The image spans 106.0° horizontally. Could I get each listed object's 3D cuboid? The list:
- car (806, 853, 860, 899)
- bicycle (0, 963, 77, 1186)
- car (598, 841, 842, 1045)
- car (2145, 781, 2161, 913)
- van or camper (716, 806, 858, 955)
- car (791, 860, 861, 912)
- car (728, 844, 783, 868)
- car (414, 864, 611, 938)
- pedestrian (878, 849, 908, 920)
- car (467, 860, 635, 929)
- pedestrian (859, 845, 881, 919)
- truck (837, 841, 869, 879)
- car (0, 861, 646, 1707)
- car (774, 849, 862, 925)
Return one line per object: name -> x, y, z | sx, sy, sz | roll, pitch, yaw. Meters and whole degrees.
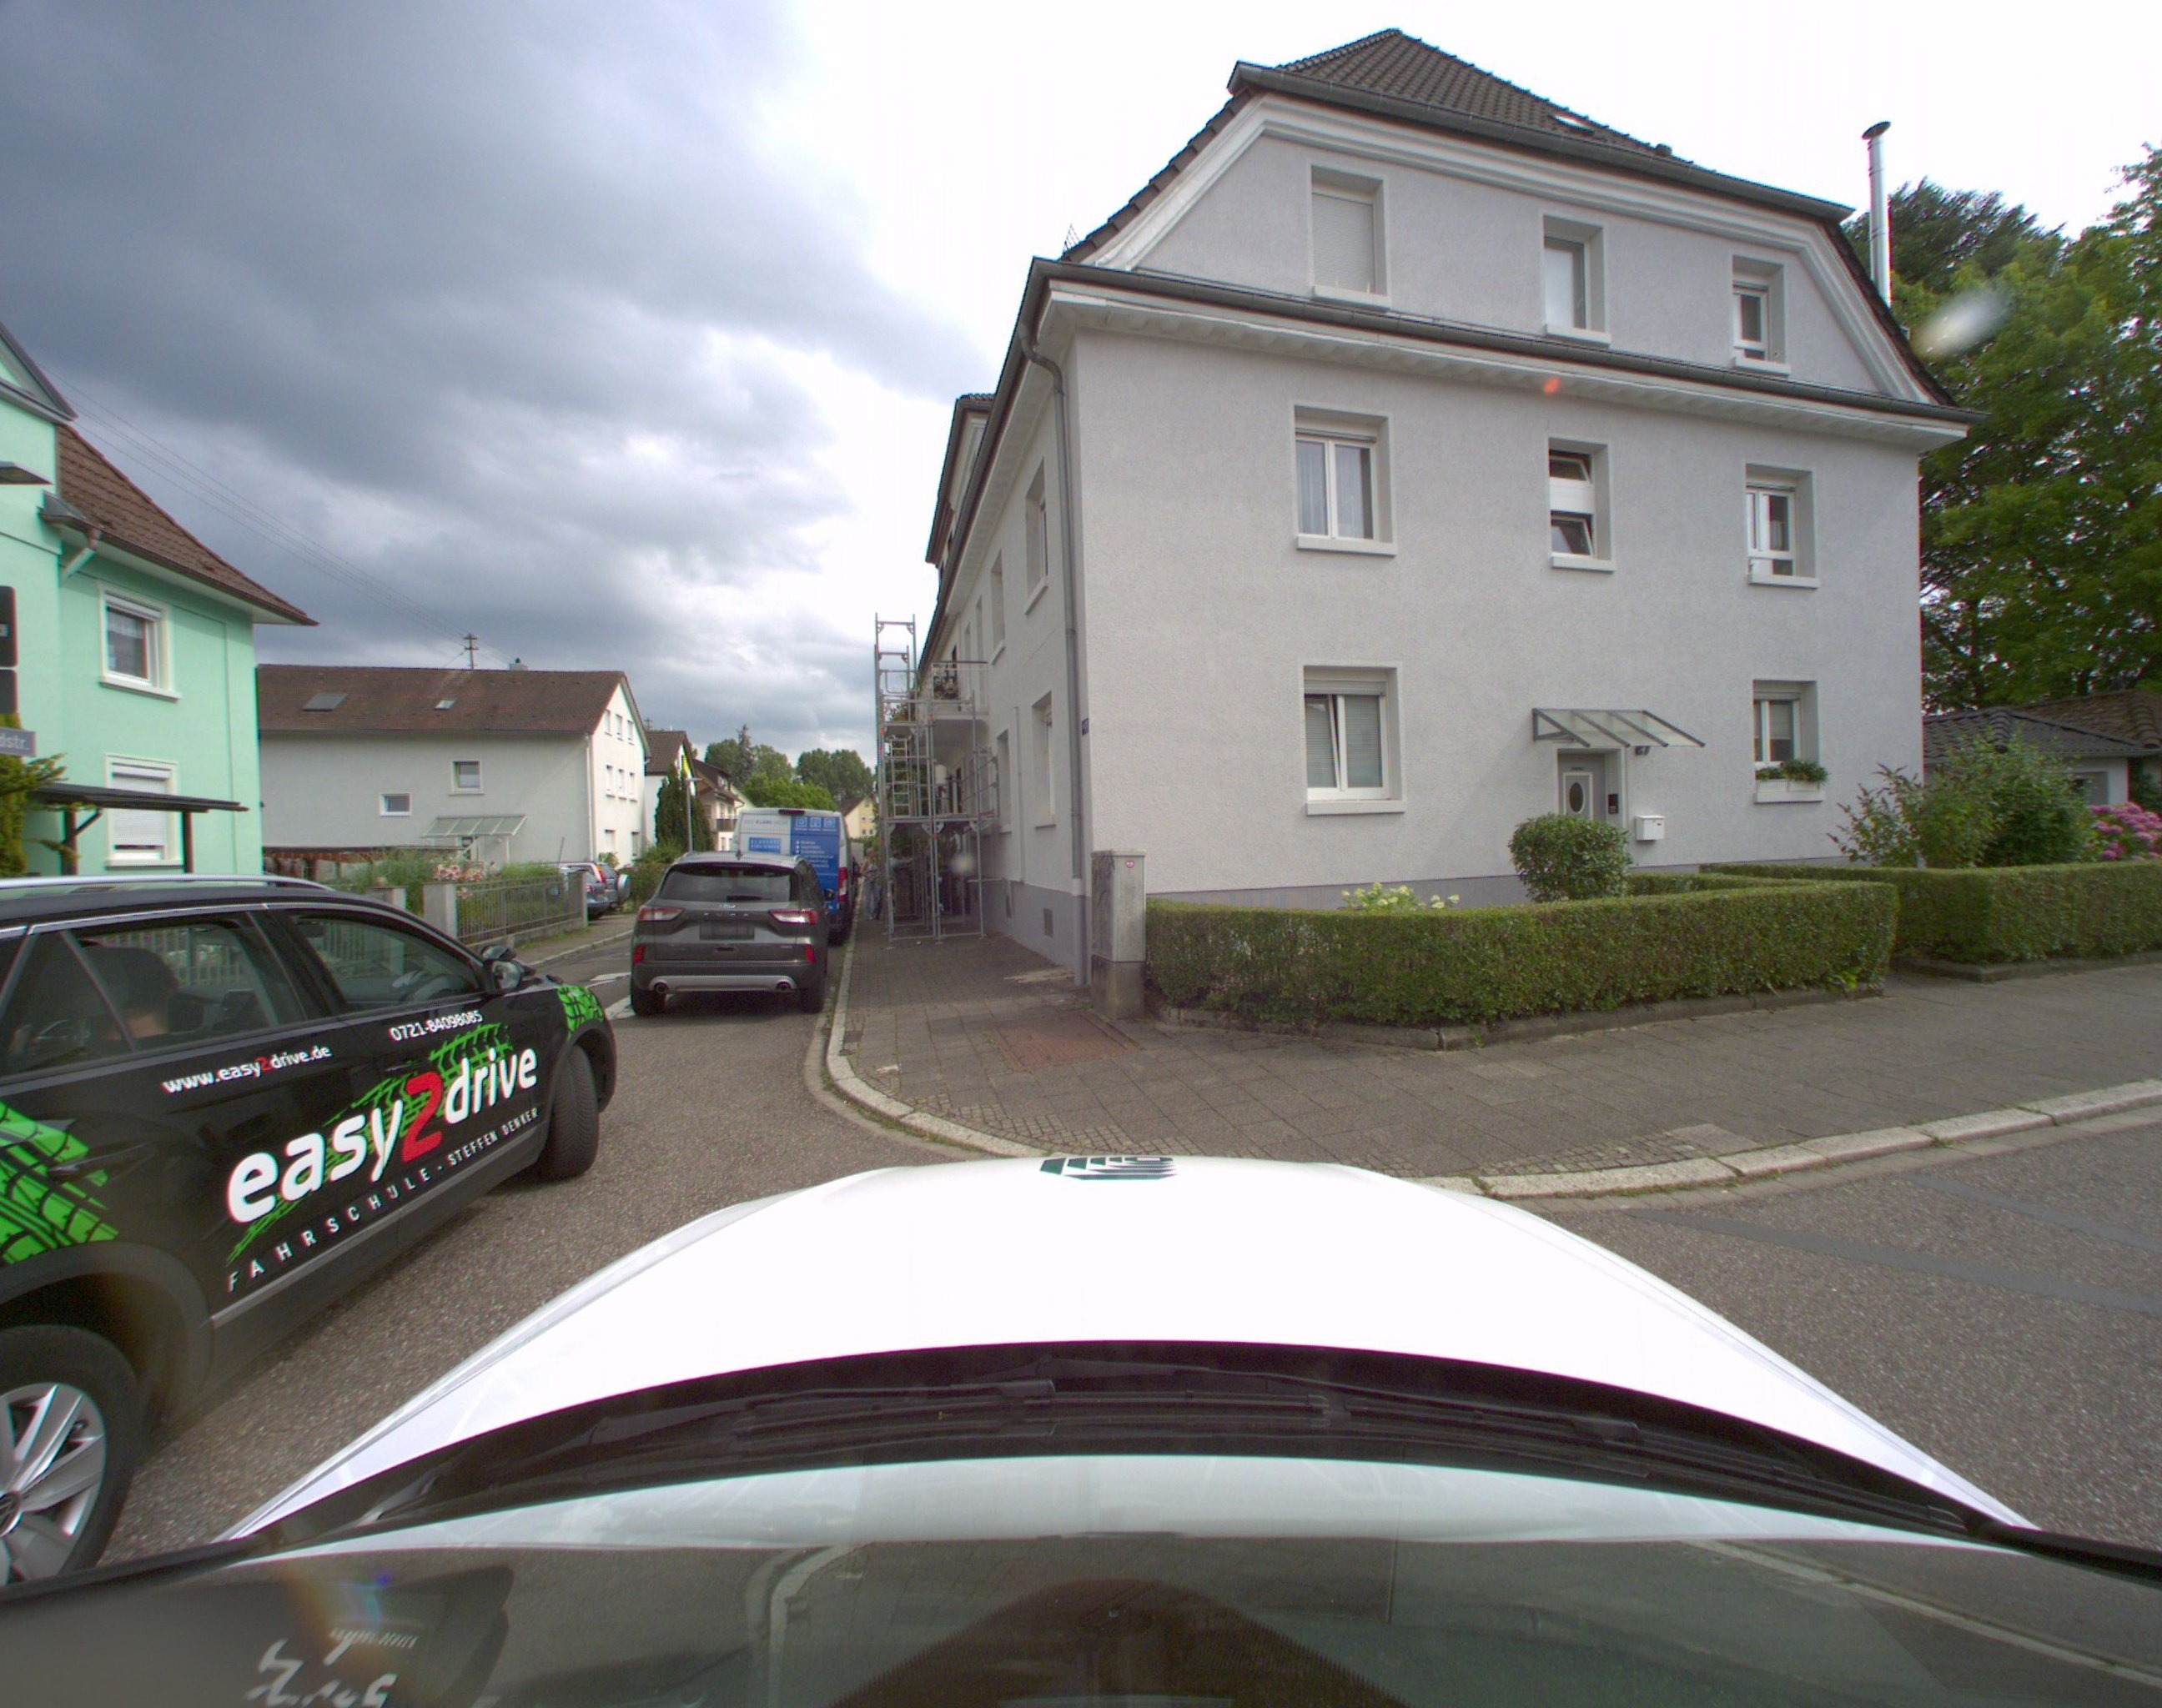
car -> -10.555, 0.854, 34.712 | 1.999, 1.749, 4.316 | -2, 1, -17
bicycle -> -6.155, 1.223, 3.761 | 0.703, 1.152, 1.872 | -1, 1, -2
car -> -3.899, 0.779, 9.545 | 1.999, 1.726, 4.316 | -2, 1, -17
car -> 17.112, -0.174, 10.937 | 3.992, 1.837, 1.991 | -2, 1, -14
van or camper -> -5.716, 0.419, 16.474 | 2.196, 2.459, 5.028 | -2, 1, -15
car -> -8.436, 1.001, 27.039 | 1.999, 1.455, 4.316 | -2, 1, -17
car -> -26.926, 0.138, 67.480 | 3.998, 1.772, 1.858 | -2, -1, -19
car -> -13.733, 1.089, 19.913 | 3.582, 1.500, 1.577 | -3, 0, -19
pedestrian -> -4.462, 0.712, 19.301 | 0.602, 1.629, 0.622 | -2, -1, -14
car -> -14.688, 1.084, 22.771 | 3.582, 1.667, 1.577 | -3, 0, -19
pedestrian -> -5.114, 0.677, 19.733 | 0.409, 1.762, 0.510 | -2, -1, -18
truck -> -17.204, 0.449, 61.417 | 2.135, 2.657, 4.558 | -2, 1, -17
car -> -3.069, 0.816, 2.571 | 1.817, 1.520, 4.028 | -2, -1, -11
car -> -7.111, 0.788, 22.183 | 1.999, 1.772, 4.316 | -2, 1, -17
